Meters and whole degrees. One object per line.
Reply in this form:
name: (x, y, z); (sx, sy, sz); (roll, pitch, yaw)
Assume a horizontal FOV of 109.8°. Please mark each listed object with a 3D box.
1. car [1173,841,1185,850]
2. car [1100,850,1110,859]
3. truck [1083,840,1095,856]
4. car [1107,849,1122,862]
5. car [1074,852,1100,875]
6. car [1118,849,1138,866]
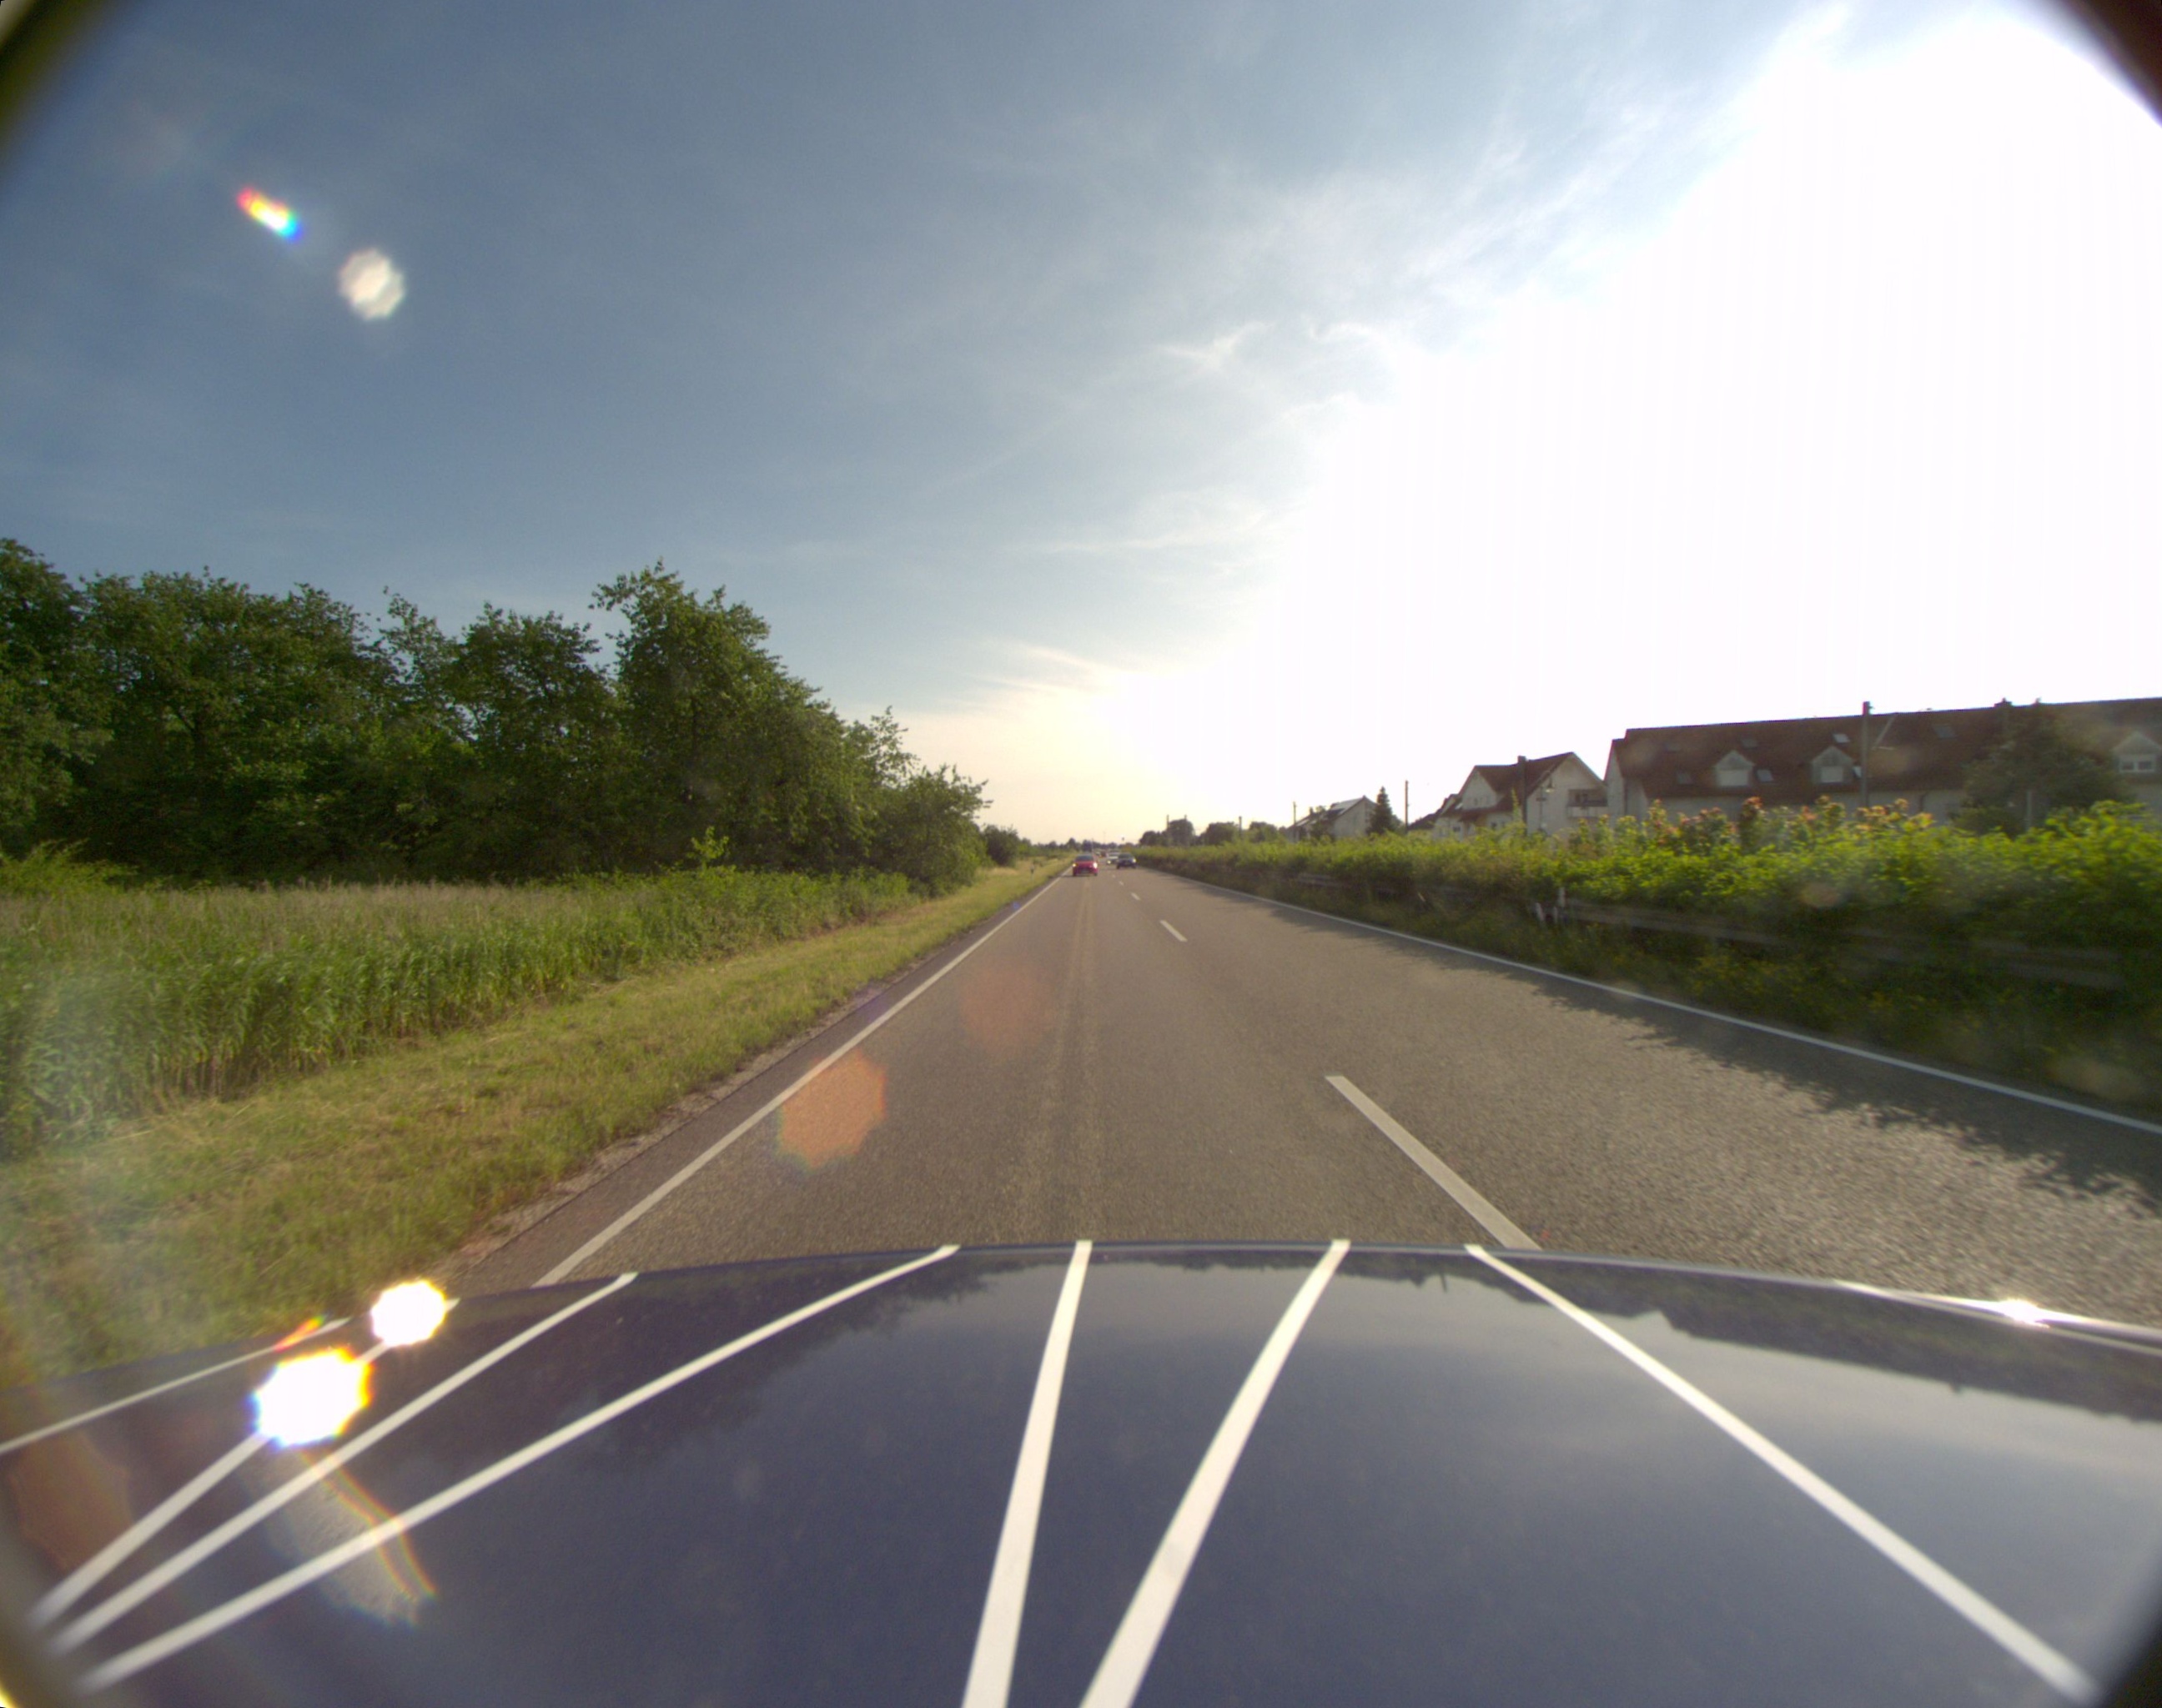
car: (20.590, -1.762, 159.306); (1.998, 1.740, 3.999); (-2, 1, 1)
car: (5.383, 0.055, 169.739); (1.998, 2.002, 4.000); (-2, 0, 1)
truck: (2.256, -1.667, 204.142); (2.849, 3.897, 10.103); (-2, 1, 1)
car: (4.147, 0.192, 94.698); (1.636, 1.442, 4.000); (-2, 1, 1)
car: (0.459, 0.628, 53.553); (1.735, 1.467, 4.000); (-2, 1, 1)
car: (4.353, 0.291, 71.136); (1.636, 1.500, 4.000); (-2, 1, 1)
